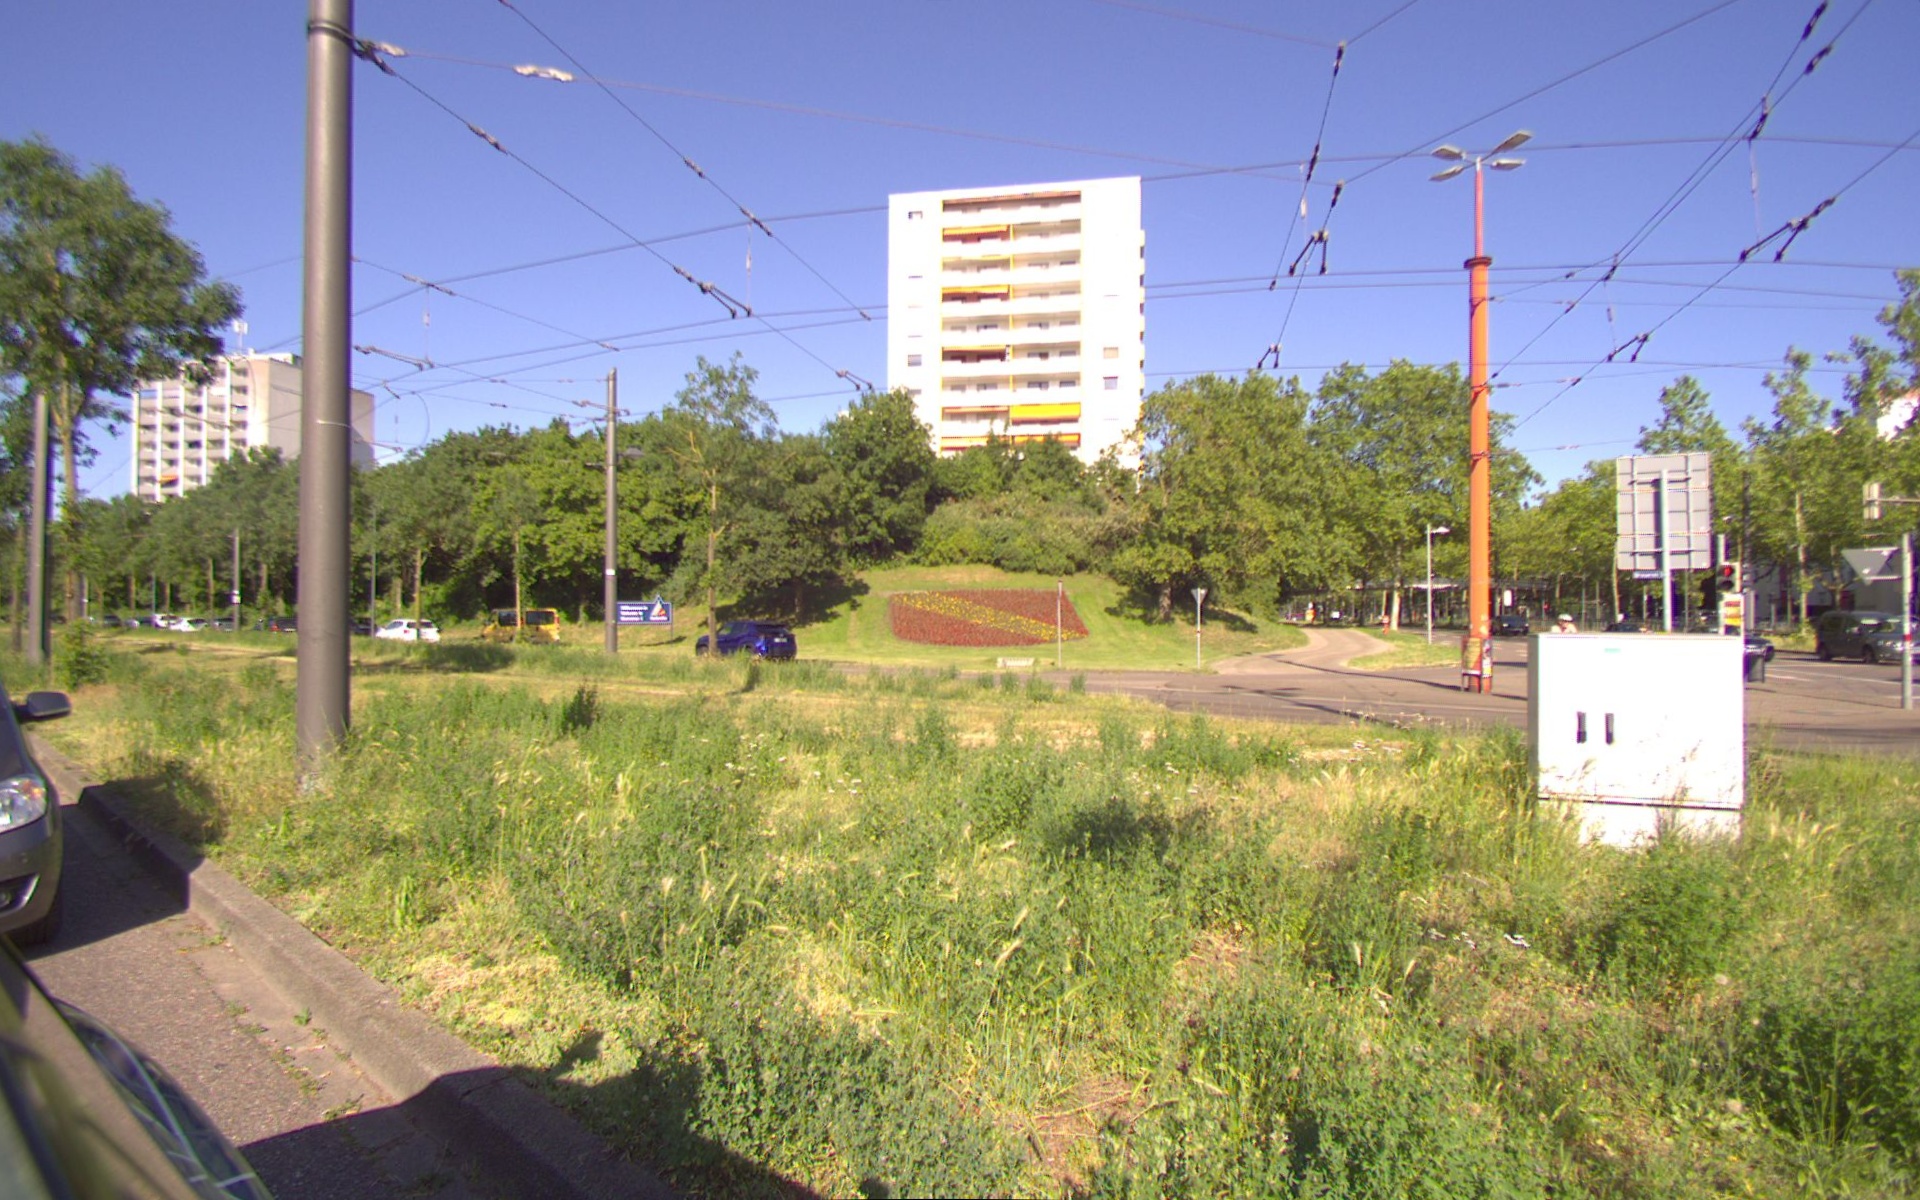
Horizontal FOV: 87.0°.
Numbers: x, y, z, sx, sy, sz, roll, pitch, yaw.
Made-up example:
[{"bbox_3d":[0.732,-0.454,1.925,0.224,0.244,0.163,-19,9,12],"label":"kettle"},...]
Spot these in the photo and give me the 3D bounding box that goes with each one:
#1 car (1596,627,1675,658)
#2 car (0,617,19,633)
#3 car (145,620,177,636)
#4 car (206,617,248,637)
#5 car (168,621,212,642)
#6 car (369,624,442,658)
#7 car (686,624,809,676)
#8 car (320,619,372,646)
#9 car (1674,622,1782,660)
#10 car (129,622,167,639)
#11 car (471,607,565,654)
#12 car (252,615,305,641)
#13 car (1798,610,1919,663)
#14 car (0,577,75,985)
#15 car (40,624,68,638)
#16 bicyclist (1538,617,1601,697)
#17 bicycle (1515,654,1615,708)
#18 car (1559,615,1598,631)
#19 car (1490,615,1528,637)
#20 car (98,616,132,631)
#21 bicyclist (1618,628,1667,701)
[{"bbox_3d":[32.081,1.990,48.223,1.749,1.360,4.342,0,-1,14],"label":"car"},{"bbox_3d":[-108.281,2.822,114.850,3.998,1.779,1.858,-1,-2,41],"label":"car"},{"bbox_3d":[-69.786,2.407,88.387,4.001,1.386,1.717,-1,-2,44],"label":"car"},{"bbox_3d":[-55.314,2.034,76.378,4.000,1.429,1.843,-2,-1,43],"label":"car"},{"bbox_3d":[-54.906,2.216,72.146,4.000,1.429,1.842,-1,-2,43],"label":"car"},{"bbox_3d":[-25.185,1.841,45.908,4.020,1.418,1.671,-2,-1,42],"label":"car"},{"bbox_3d":[-7.148,1.629,33.802,4.105,1.586,1.973,-2,-1,41],"label":"car"},{"bbox_3d":[-36.628,1.932,60.339,1.767,1.519,4.243,1,-2,-44],"label":"car"},{"bbox_3d":[29.116,1.518,38.525,1.749,1.360,4.341,0,-1,15],"label":"car"},{"bbox_3d":[-66.165,2.485,82.449,4.229,1.371,1.801,-1,-2,43],"label":"car"},{"bbox_3d":[-20.023,1.406,45.760,4.905,1.981,1.972,-2,-4,42],"label":"car"},{"bbox_3d":[-39.859,1.622,59.155,4.312,1.427,1.774,-2,-1,45],"label":"car"},{"bbox_3d":[31.454,1.236,34.825,1.828,1.721,4.300,0,-2,5],"label":"car"},{"bbox_3d":[-5.735,0.748,4.853,3.879,1.634,1.737,-1,-2,41],"label":"car"},{"bbox_3d":[-100.340,3.444,112.081,3.998,1.475,1.779,-1,-2,41],"label":"car"},{"bbox_3d":[12.163,1.116,20.209,0.719,1.557,0.770,0,-2,-20],"label":"bicyclist"},{"bbox_3d":[12.090,1.605,20.287,0.673,0.968,1.650,0,-1,-20],"label":"bicycle"},{"bbox_3d":[79.730,2.993,130.494,3.969,2.029,1.987,-1,-1,20],"label":"car"},{"bbox_3d":[42.691,2.028,78.738,1.837,1.721,4.280,-1,-2,18],"label":"car"},{"bbox_3d":[-83.628,2.320,100.119,3.998,1.497,1.972,-1,-2,41],"label":"car"},{"bbox_3d":[13.348,1.243,19.810,0.435,1.391,0.631,0,-2,-20],"label":"bicyclist"}]
